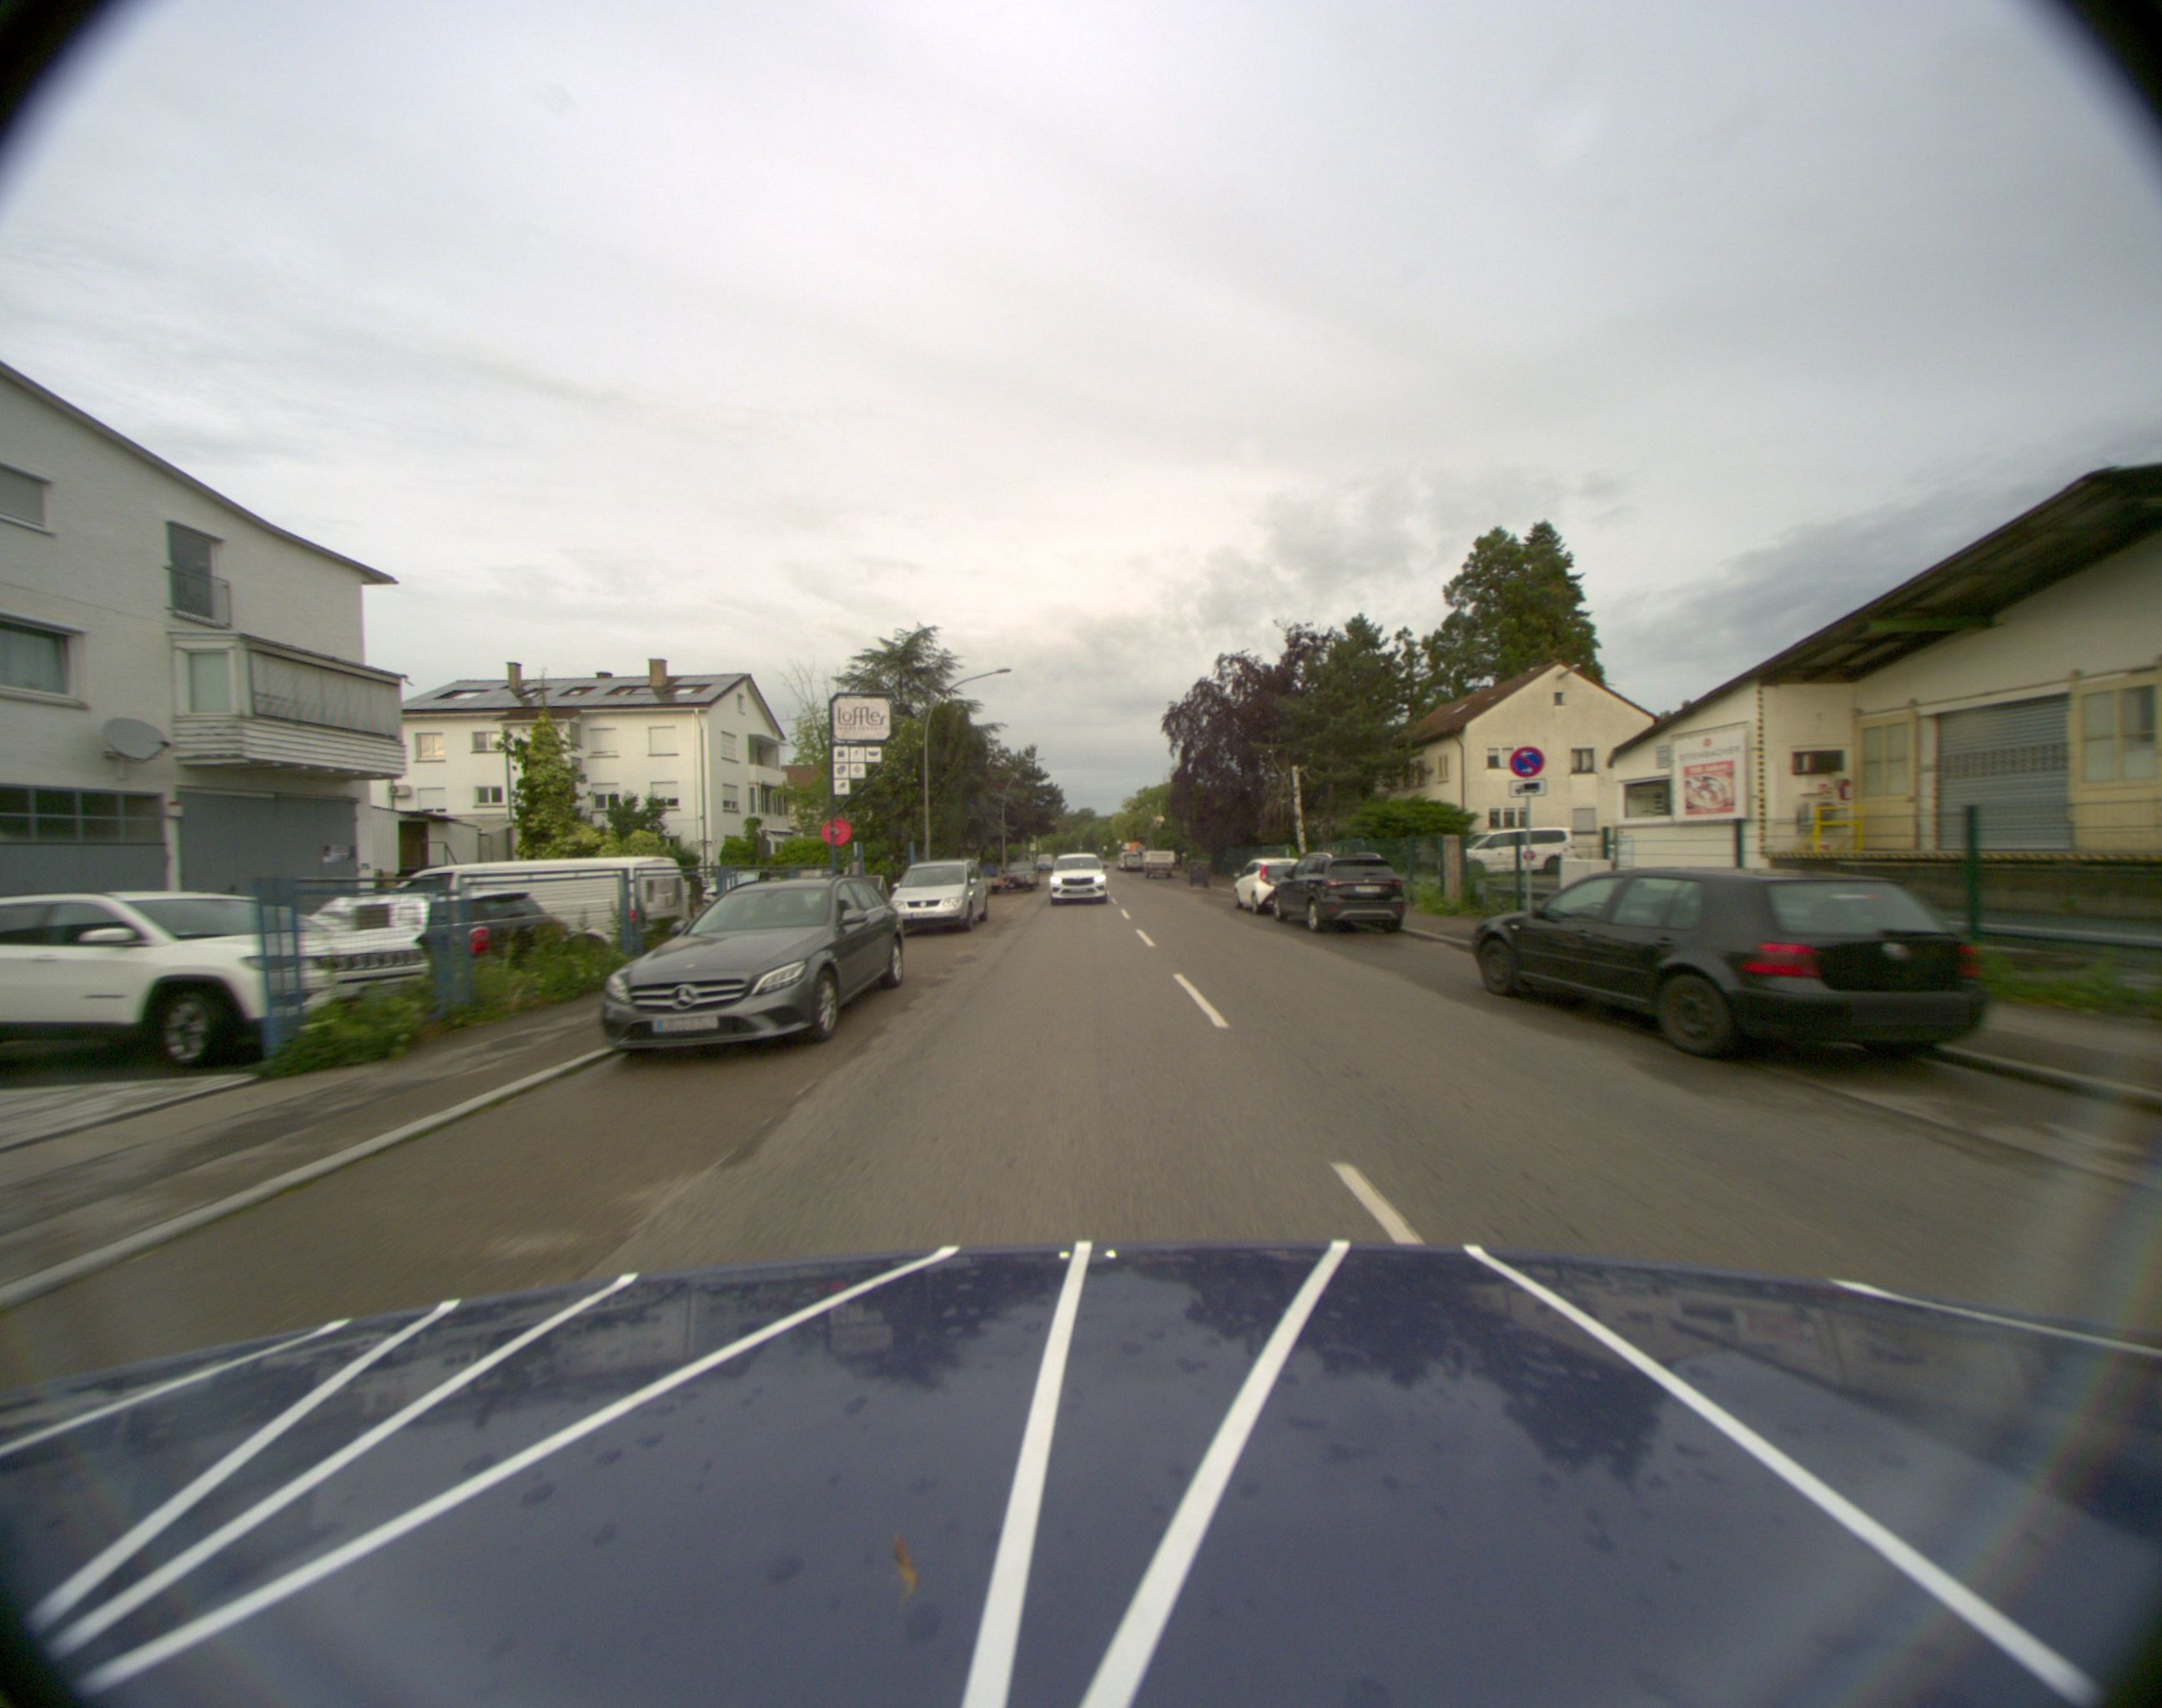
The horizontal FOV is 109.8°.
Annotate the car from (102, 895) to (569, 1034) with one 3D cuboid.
[{"bbox_3d":[-9.727,1.403,10.218,4.331,1.371,1.850,-3,0,-1],"label":"car"}]

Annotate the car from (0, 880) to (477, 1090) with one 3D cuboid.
[{"bbox_3d":[-8.981,1.208,7.502,4.456,1.615,1.893,-3,1,1],"label":"car"}]

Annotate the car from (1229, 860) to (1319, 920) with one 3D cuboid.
[{"bbox_3d":[5.299,0.939,21.303,1.620,1.500,3.660,0,0,0],"label":"car"}]

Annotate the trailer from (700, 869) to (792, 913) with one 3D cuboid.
[{"bbox_3d":[-13.603,1.440,31.198,1.773,1.511,4.803,-1,0,-3],"label":"trailer"}]

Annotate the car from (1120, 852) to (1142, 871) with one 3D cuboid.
[{"bbox_3d":[5.179,0.778,79.244,1.898,1.881,5.210,0,0,0],"label":"car"}]

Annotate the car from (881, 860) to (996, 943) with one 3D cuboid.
[{"bbox_3d":[-3.252,1.011,18.203,1.743,1.612,4.373,-3,0,2],"label":"car"}]

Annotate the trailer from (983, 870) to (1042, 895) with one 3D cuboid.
[{"bbox_3d":[-3.133,1.299,36.109,2.179,0.892,6.636,-3,0,0],"label":"trailer"}]

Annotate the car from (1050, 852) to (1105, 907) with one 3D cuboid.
[{"bbox_3d":[-0.194,0.803,26.160,1.692,1.651,3.999,-3,0,-2],"label":"car"}]

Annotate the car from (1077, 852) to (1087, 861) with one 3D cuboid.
[{"bbox_3d":[0.204,0.445,142.532,1.898,1.678,4.230,0,0,0],"label":"car"}]

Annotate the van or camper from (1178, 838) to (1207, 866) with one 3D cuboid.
[{"bbox_3d":[12.910,-0.247,88.439,2.309,3.018,6.150,-3,0,-1],"label":"van or camper"}]

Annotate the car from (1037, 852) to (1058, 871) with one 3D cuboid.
[{"bbox_3d":[-3.482,0.792,80.455,1.736,1.817,5.553,-4,0,1],"label":"car"}]

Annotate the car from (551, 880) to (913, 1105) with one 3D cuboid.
[{"bbox_3d":[-3.146,1.125,8.047,1.743,1.458,4.545,-3,0,-1],"label":"car"}]

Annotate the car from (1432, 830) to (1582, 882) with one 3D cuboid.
[{"bbox_3d":[17.586,0.094,31.536,5.010,1.846,2.000,-3,1,2],"label":"car"}]

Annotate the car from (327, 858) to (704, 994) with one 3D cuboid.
[{"bbox_3d":[-9.286,1.125,12.815,4.744,1.875,2.000,-3,1,0],"label":"car"}]

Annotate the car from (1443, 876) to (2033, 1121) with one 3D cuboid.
[{"bbox_3d":[5.284,0.990,7.073,1.666,1.440,4.316,0,0,-2],"label":"car"}]

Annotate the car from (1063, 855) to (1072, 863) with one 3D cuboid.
[{"bbox_3d":[-2.684,1.014,149.635,1.743,1.458,4.545,-3,0,-1],"label":"car"}]

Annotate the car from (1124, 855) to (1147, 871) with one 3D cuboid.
[{"bbox_3d":[5.264,0.827,73.805,1.821,1.419,4.981,0,0,0],"label":"car"}]

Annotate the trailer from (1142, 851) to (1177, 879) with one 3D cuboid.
[{"bbox_3d":[5.432,0.738,53.170,1.934,1.755,4.548,-2,0,0],"label":"trailer"}]

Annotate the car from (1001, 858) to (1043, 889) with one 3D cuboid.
[{"bbox_3d":[-3.254,1.052,42.518,1.744,1.424,4.648,-4,0,2],"label":"car"}]

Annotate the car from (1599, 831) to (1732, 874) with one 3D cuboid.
[{"bbox_3d":[23.894,-0.073,31.183,3.996,1.543,1.785,-3,1,2],"label":"car"}]

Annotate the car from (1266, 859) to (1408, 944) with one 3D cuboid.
[{"bbox_3d":[5.340,0.913,16.386,1.665,1.575,3.915,0,0,-1],"label":"car"}]

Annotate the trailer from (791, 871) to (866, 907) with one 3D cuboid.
[{"bbox_3d":[-10.476,1.417,31.806,1.619,1.268,3.892,-2,0,3],"label":"trailer"}]

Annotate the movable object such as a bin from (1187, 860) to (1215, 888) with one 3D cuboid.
[{"bbox_3d":[5.953,0.976,37.887,1.103,1.303,1.425,-3,1,0],"label":"movable object such as a bin"}]
